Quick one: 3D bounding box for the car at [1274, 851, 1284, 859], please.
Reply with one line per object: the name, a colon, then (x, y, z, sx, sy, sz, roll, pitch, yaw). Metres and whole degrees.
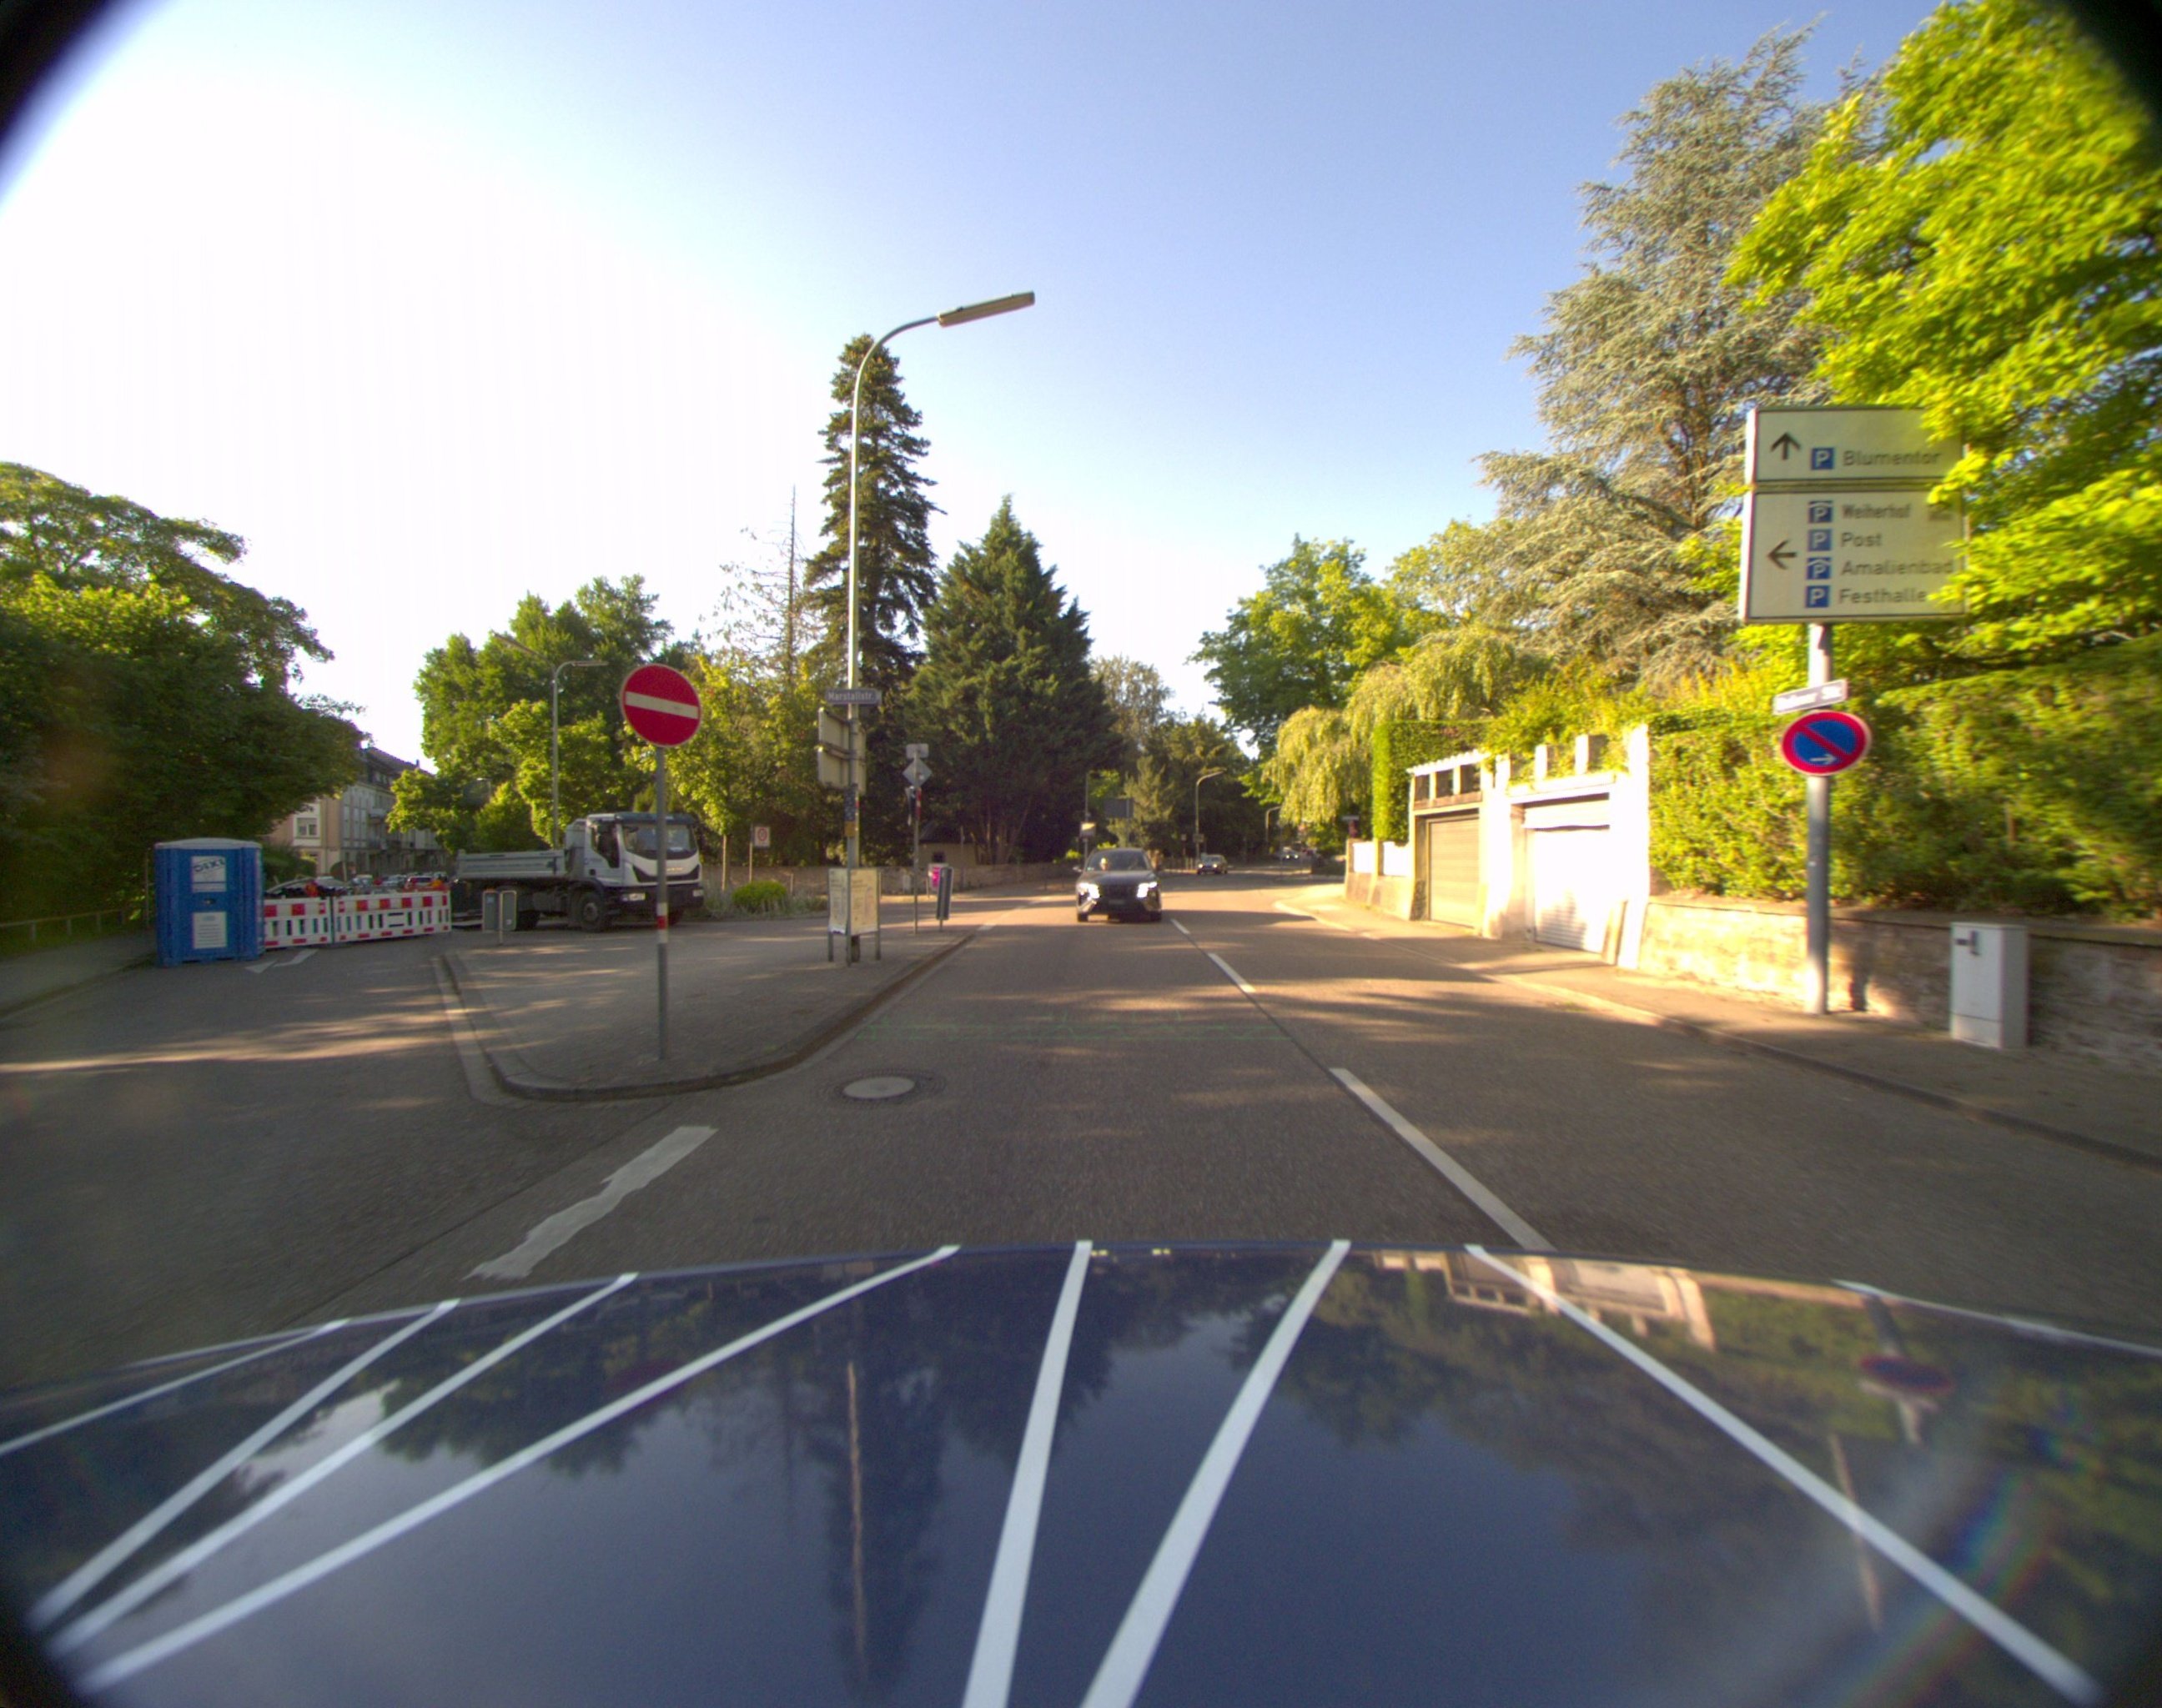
car: (38.946, 0.149, 149.301, 1.821, 1.375, 3.939, 3, 2, 14)

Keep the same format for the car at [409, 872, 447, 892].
car: (-52.630, 2.238, 61.182, 3.903, 1.514, 1.842, -1, 0, 43)

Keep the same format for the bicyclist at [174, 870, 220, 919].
bicyclist: (-27.550, 1.256, 23.689, 0.762, 1.476, 0.642, 4, -3, -40)

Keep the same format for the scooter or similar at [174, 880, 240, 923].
scooter or similar: (-28.712, 1.557, 24.995, 1.157, 1.316, 1.179, 7, -5, -40)

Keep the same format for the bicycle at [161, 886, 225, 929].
bicycle: (-27.396, 1.631, 23.485, 0.765, 1.199, 2.834, 5, -4, -40)

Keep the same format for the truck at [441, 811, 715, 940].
truck: (-12.801, 0.570, 19.306, 6.593, 2.878, 2.437, -2, 0, 22)

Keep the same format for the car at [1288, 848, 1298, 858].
car: (43.006, -0.125, 154.172, 1.996, 2.002, 4.005, -1, 0, 16)

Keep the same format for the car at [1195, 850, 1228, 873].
car: (10.025, 0.573, 58.249, 1.996, 1.630, 4.005, -2, 0, 16)

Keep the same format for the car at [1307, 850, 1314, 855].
car: (73.497, -0.556, 243.588, 1.821, 1.375, 3.939, 3, 2, 14)

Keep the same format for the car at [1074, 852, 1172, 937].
car: (0.926, 0.798, 17.219, 1.936, 1.676, 4.432, 0, 0, 2)
